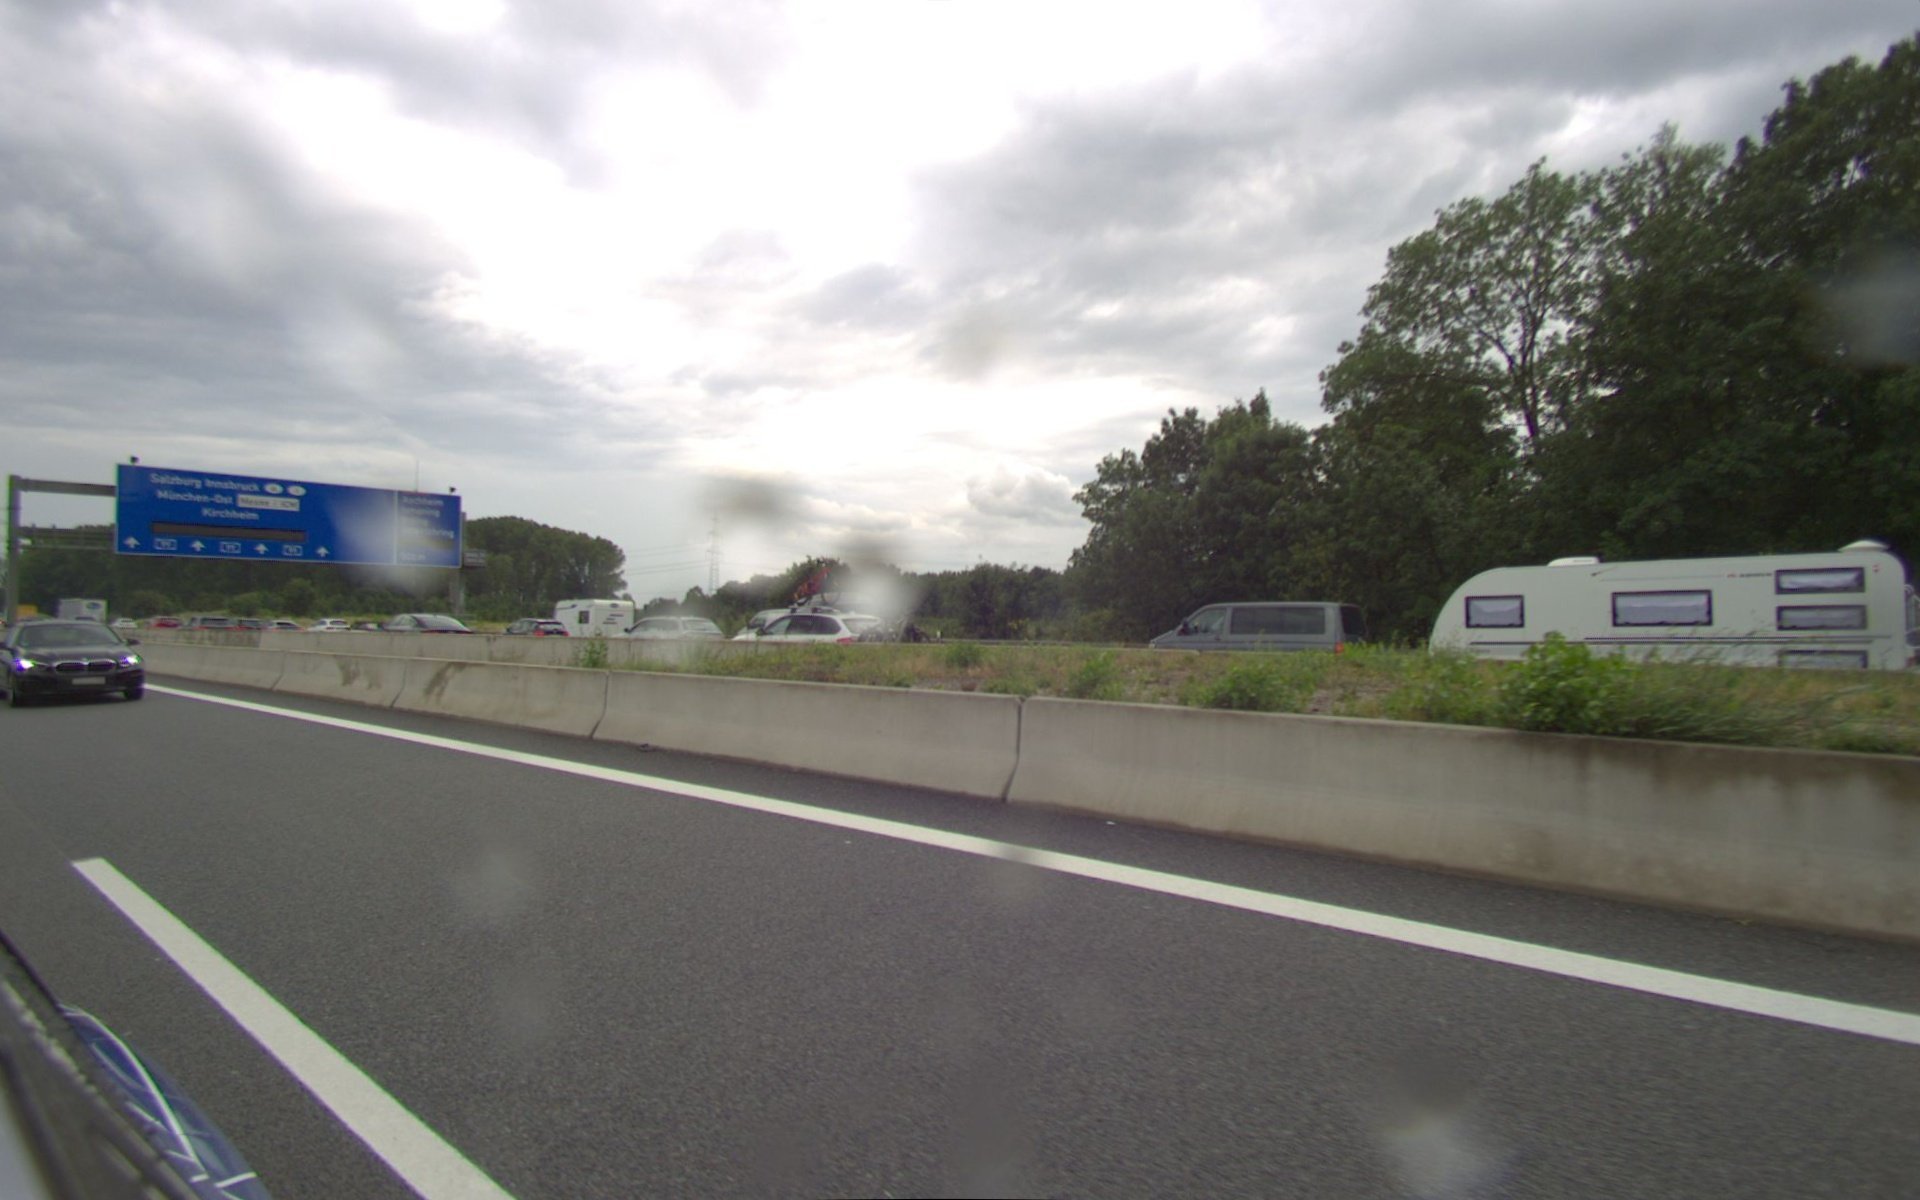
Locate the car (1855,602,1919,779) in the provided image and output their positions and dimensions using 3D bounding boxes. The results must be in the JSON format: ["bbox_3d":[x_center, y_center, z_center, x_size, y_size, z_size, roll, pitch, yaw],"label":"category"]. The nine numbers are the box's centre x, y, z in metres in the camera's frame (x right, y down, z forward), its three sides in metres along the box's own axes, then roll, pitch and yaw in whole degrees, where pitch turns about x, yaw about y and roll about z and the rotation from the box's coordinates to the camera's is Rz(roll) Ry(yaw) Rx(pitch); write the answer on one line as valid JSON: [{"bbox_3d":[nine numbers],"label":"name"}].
[{"bbox_3d":[13.096,1.003,11.135,4.786,2.029,2.022,-1,-1,41],"label":"car"}]

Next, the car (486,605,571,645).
[{"bbox_3d":[-22.389,1.306,52.425,5.222,1.967,1.973,-1,-1,41],"label":"car"}]

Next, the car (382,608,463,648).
[{"bbox_3d":[-27.886,1.454,52.411,5.222,1.967,1.973,-1,-1,41],"label":"car"}]

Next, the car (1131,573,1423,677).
[{"bbox_3d":[6.783,0.531,22.030,5.504,1.967,2.578,-1,-1,41],"label":"car"}]

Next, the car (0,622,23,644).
[{"bbox_3d":[-90.725,3.130,96.191,4.757,2.029,1.973,-1,-1,41],"label":"car"}]

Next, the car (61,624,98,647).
[{"bbox_3d":[-81.078,3.253,93.182,4.757,2.029,1.973,-1,-1,41],"label":"car"}]

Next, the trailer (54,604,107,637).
[{"bbox_3d":[-114.764,2.708,132.014,13.797,4.059,3.206,-1,-1,40],"label":"trailer"}]

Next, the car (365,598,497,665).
[{"bbox_3d":[-16.900,0.988,32.204,5.222,1.967,1.973,-1,-1,41],"label":"car"}]

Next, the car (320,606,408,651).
[{"bbox_3d":[-27.760,1.308,47.051,5.222,1.967,1.973,-1,-1,41],"label":"car"}]

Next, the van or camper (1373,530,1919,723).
[{"bbox_3d":[11.787,0.440,17.602,8.120,2.727,2.578,-1,-1,41],"label":"van or camper"}]

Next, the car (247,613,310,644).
[{"bbox_3d":[-45.871,1.886,68.080,5.222,1.967,2.219,-1,-1,41],"label":"car"}]

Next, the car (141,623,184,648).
[{"bbox_3d":[-57.702,2.542,73.239,4.334,1.758,1.661,-1,-1,41],"label":"car"}]

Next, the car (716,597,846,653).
[{"bbox_3d":[-6.797,0.923,38.110,5.222,1.967,1.973,-1,-1,41],"label":"car"}]

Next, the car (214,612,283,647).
[{"bbox_3d":[-42.330,1.755,60.162,5.180,1.967,2.219,-1,-1,41],"label":"car"}]

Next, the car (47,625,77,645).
[{"bbox_3d":[-92.275,3.556,103.971,3.998,2.029,1.864,-1,-1,41],"label":"car"}]

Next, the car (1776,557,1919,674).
[{"bbox_3d":[17.665,0.266,18.031,4.786,2.029,2.022,-1,-1,41],"label":"car"}]

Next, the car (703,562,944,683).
[{"bbox_3d":[-2.958,0.462,20.995,5.286,2.198,1.973,-1,-1,41],"label":"car"}]

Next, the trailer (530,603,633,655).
[{"bbox_3d":[-18.352,1.375,48.916,5.780,2.393,2.219,-1,-1,41],"label":"trailer"}]

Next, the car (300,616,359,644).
[{"bbox_3d":[-45.916,2.173,73.661,5.222,1.967,2.219,-1,-1,41],"label":"car"}]

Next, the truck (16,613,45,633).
[{"bbox_3d":[-171.292,4.213,186.417,9.575,3.640,2.848,-1,-1,41],"label":"truck"}]

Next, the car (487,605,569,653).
[{"bbox_3d":[-19.169,1.280,44.842,3.998,2.029,1.798,-1,-1,41],"label":"car"}]

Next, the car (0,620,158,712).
[{"bbox_3d":[-15.917,1.107,18.014,3.998,1.426,1.898,-2,-2,41],"label":"car"}]

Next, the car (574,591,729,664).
[{"bbox_3d":[-9.737,0.853,31.685,5.645,2.098,1.973,-1,-1,41],"label":"car"}]

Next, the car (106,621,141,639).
[{"bbox_3d":[-97.822,3.473,118.348,4.826,1.967,2.405,-1,-1,41],"label":"car"}]

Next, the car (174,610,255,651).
[{"bbox_3d":[-37.995,1.551,51.551,5.222,1.967,2.219,-1,-1,41],"label":"car"}]
